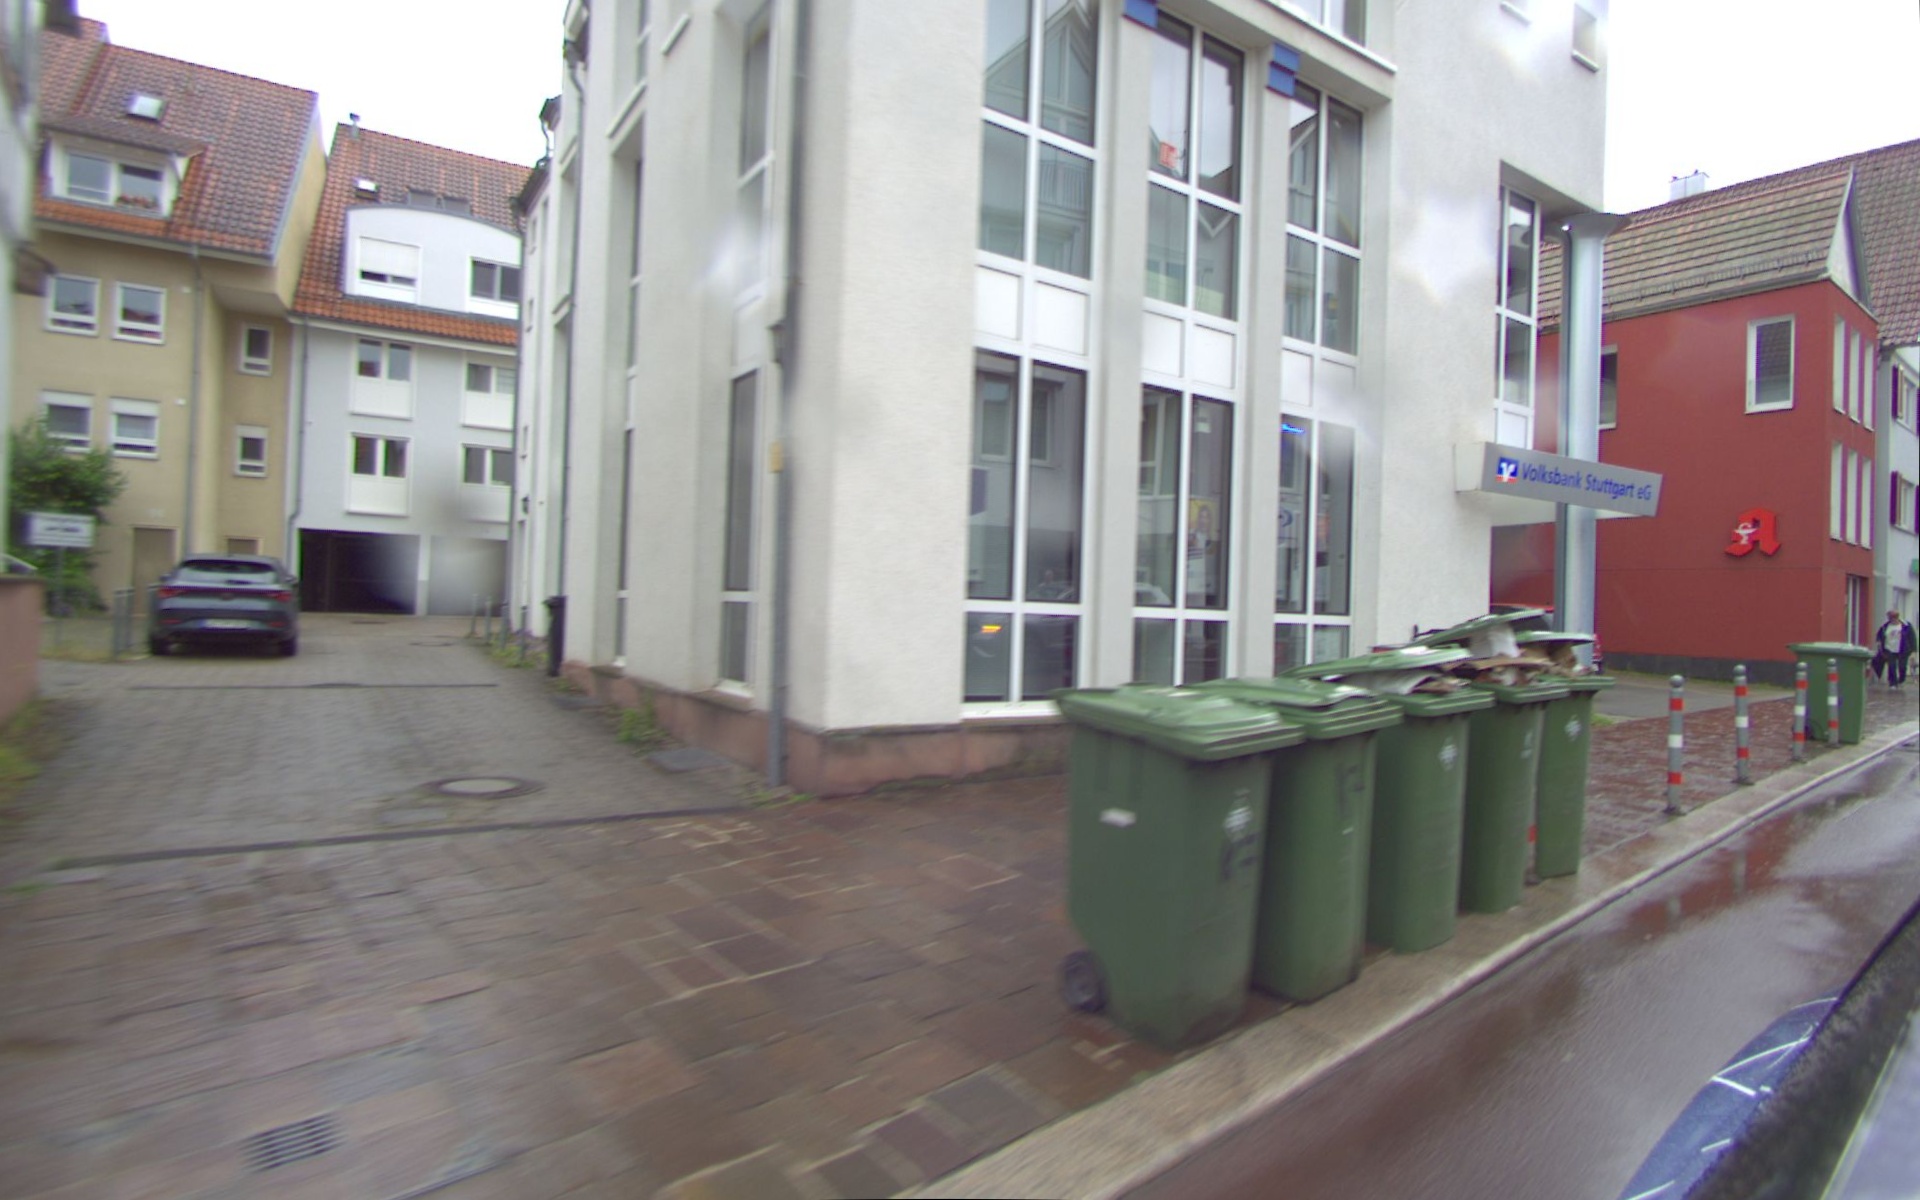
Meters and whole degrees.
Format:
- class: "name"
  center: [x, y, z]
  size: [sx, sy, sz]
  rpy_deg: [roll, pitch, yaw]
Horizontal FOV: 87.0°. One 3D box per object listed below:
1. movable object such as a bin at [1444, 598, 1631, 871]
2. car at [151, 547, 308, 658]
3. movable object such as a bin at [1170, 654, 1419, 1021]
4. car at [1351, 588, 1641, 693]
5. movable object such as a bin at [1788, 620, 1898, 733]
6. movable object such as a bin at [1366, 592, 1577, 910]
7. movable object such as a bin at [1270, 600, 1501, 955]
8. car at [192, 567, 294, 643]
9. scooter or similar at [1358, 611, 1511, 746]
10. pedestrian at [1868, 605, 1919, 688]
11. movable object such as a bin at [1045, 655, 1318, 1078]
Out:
- class: "movable object such as a bin"
  center: [3.014, 0.645, 5.293]
  size: [0.620, 1.307, 0.640]
  rpy_deg: [0, -1, -35]
- class: "car"
  center: [-10.946, 0.041, 15.091]
  size: [1.650, 1.414, 3.679]
  rpy_deg: [4, -2, -38]
- class: "movable object such as a bin"
  center: [1.224, 0.795, 3.729]
  size: [0.620, 1.146, 0.618]
  rpy_deg: [0, -1, -36]
- class: "car"
  center: [9.051, 0.627, 17.430]
  size: [1.873, 1.533, 4.005]
  rpy_deg: [3, 0, -30]
- class: "movable object such as a bin"
  center: [9.679, 0.809, 11.098]
  size: [0.848, 1.145, 0.805]
  rpy_deg: [0, 0, -42]
- class: "movable object such as a bin"
  center: [2.325, 0.622, 4.618]
  size: [0.620, 1.307, 0.640]
  rpy_deg: [0, -1, -35]
- class: "movable object such as a bin"
  center: [1.752, 0.656, 4.189]
  size: [0.620, 1.307, 0.640]
  rpy_deg: [0, -1, -35]
- class: "car"
  center: [-13.821, 0.060, 19.513]
  size: [1.509, 1.322, 3.256]
  rpy_deg: [0, 1, -36]
- class: "scooter or similar"
  center: [4.496, 0.696, 9.576]
  size: [1.418, 1.160, 0.667]
  rpy_deg: [0, 0, -34]
- class: "pedestrian"
  center: [20.486, 0.989, 21.856]
  size: [1.157, 1.719, 1.179]
  rpy_deg: [2, 0, -43]
- class: "movable object such as a bin"
  center: [0.718, 0.778, 3.310]
  size: [0.621, 1.146, 0.617]
  rpy_deg: [0, -1, -40]
